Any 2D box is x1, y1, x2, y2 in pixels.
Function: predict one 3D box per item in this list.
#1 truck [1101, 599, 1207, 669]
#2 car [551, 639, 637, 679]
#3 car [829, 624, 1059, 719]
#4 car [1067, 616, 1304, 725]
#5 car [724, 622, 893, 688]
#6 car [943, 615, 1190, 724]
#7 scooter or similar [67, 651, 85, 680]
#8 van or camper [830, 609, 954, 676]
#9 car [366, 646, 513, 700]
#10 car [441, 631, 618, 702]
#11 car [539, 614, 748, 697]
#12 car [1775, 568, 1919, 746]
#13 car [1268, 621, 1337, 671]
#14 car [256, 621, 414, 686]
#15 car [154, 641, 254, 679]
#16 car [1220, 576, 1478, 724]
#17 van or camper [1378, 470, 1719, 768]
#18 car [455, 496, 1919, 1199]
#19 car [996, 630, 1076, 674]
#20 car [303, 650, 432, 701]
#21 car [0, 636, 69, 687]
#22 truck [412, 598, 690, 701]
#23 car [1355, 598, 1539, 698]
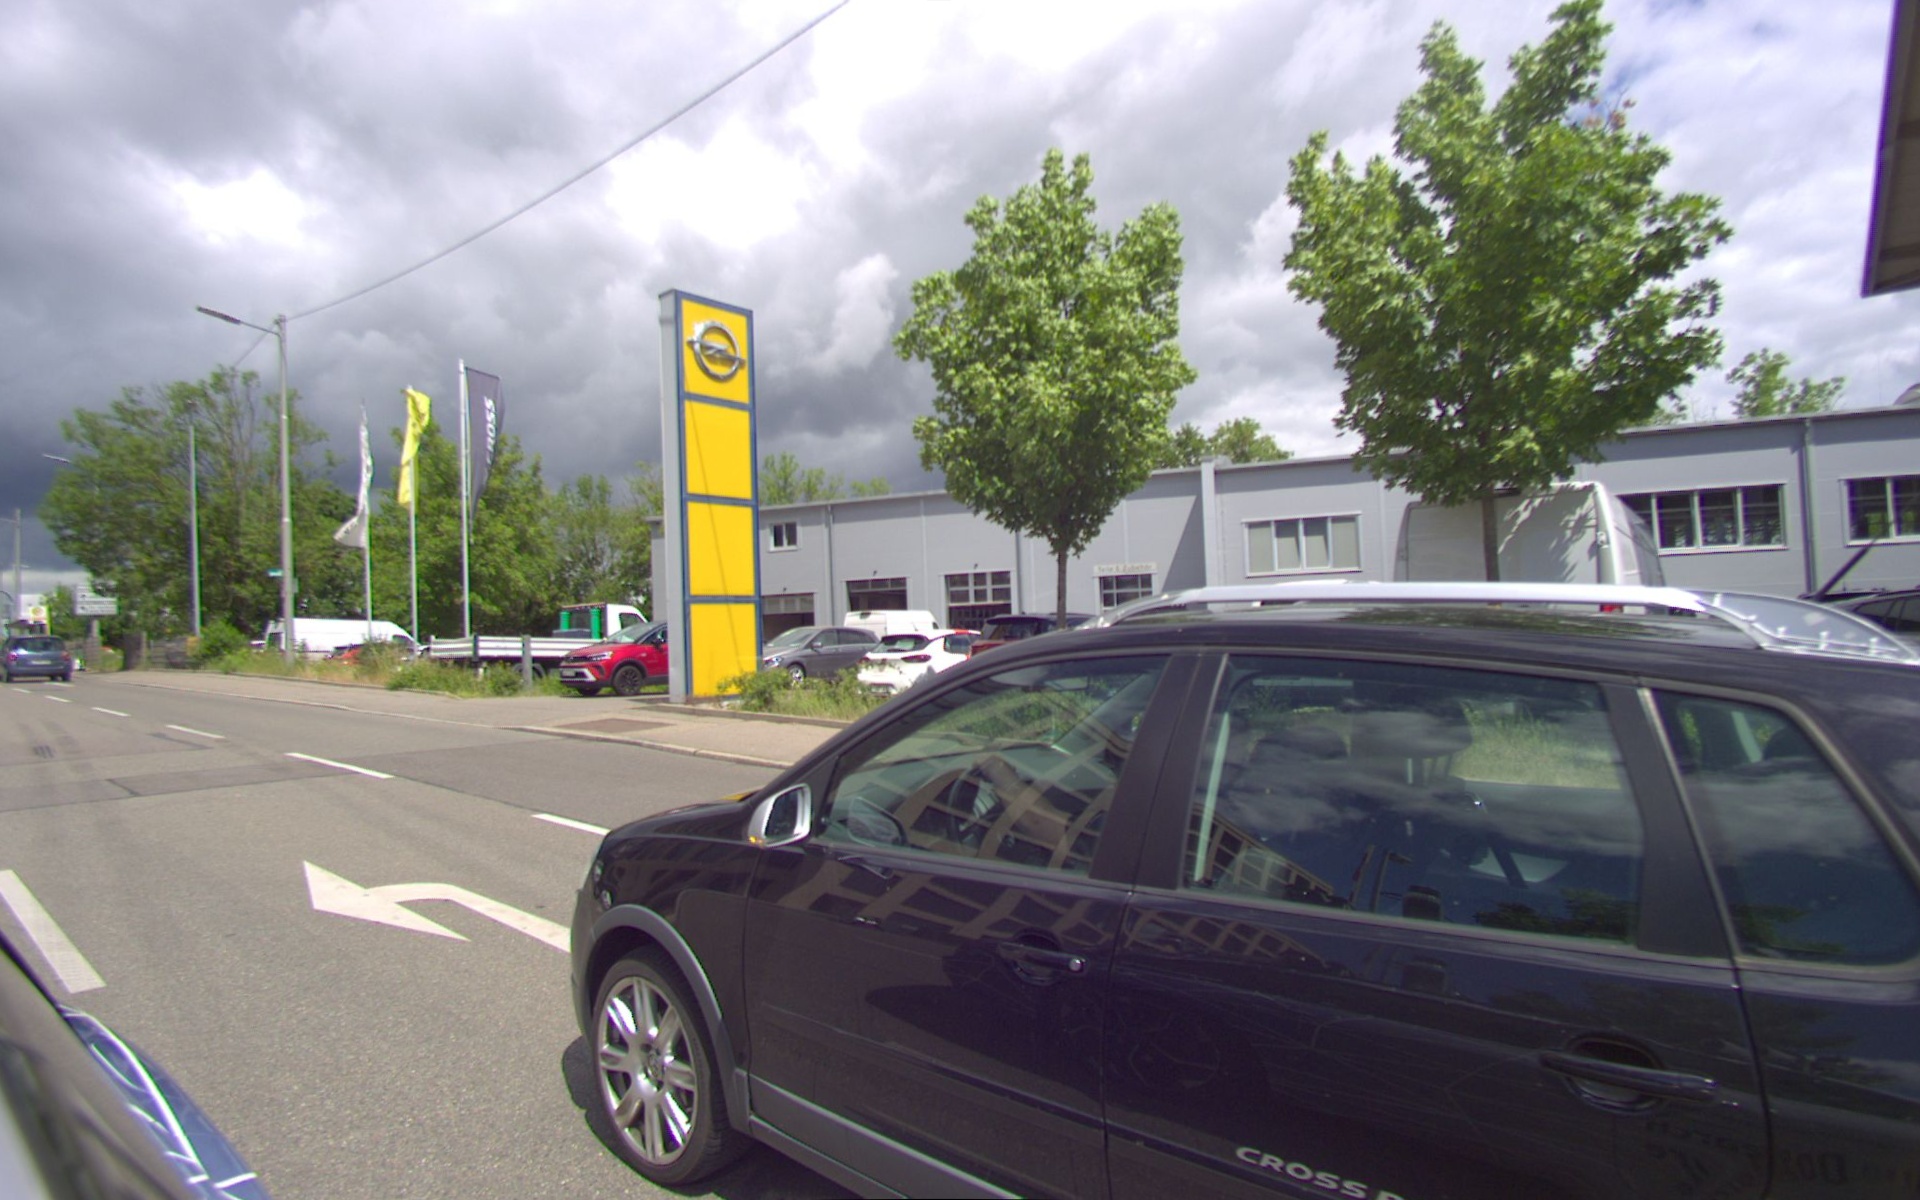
[{"bbox_3d":[7.001,1.187,35.908,2.682,2.246,6.270,-1,-1,21],"label":"truck"},{"bbox_3d":[-17.506,2.818,48.301,4.916,1.742,1.816,-4,-3,43],"label":"car"},{"bbox_3d":[-0.186,1.189,18.026,1.998,1.420,3.947,-3,-2,40],"label":"car"},{"bbox_3d":[3.545,1.027,15.444,1.927,1.420,3.946,-2,-3,40],"label":"car"},{"bbox_3d":[-3.761,1.420,25.591,1.825,1.534,4.037,-4,-6,40],"label":"car"},{"bbox_3d":[1.835,1.075,16.669,2.000,1.503,3.943,-5,-3,44],"label":"car"},{"bbox_3d":[-40.113,2.984,45.916,0.528,1.275,1.473,-2,-1,-43],"label":"scooter or similar"},{"bbox_3d":[-2.532,1.618,39.775,2.487,2.373,5.856,-3,-2,22],"label":"van or camper"},{"bbox_3d":[-15.276,2.096,29.809,1.712,1.335,3.505,-2,-1,44],"label":"car"},{"bbox_3d":[-11.258,1.687,26.648,1.927,1.621,3.845,-2,-1,41],"label":"car"},{"bbox_3d":[-6.707,1.226,21.749,1.753,1.601,3.944,-4,-6,42],"label":"car"},{"bbox_3d":[9.168,0.454,7.876,1.916,1.520,4.477,-1,-1,-1],"label":"car"},{"bbox_3d":[10.816,1.426,32.171,1.912,1.420,4.217,-1,-1,18],"label":"car"},{"bbox_3d":[-21.400,1.807,34.774,2.196,2.029,4.119,-4,-3,39],"label":"car"},{"bbox_3d":[-44.069,3.488,59.099,2.136,2.029,4.240,-3,-2,34],"label":"car"},{"bbox_3d":[5.454,0.631,13.937,1.999,1.719,3.945,-5,-3,41],"label":"car"},{"bbox_3d":[6.760,0.215,11.307,2.316,2.550,4.975,-5,-3,40],"label":"van or camper"},{"bbox_3d":[0.639,0.696,2.474,4.273,1.520,1.811,-2,-2,40],"label":"car"},{"bbox_3d":[2.961,1.952,38.452,1.914,1.420,4.213,-4,-2,20],"label":"car"},{"bbox_3d":[-19.278,2.404,33.006,1.728,1.420,3.299,-2,-1,44],"label":"car"},{"bbox_3d":[-31.221,2.036,33.686,4.039,1.608,1.726,-3,-4,40],"label":"car"},{"bbox_3d":[-9.685,1.114,24.508,2.473,2.164,5.805,-1,-2,38],"label":"truck"},{"bbox_3d":[8.732,0.764,17.973,1.927,1.547,4.184,-2,-1,40],"label":"car"}]
